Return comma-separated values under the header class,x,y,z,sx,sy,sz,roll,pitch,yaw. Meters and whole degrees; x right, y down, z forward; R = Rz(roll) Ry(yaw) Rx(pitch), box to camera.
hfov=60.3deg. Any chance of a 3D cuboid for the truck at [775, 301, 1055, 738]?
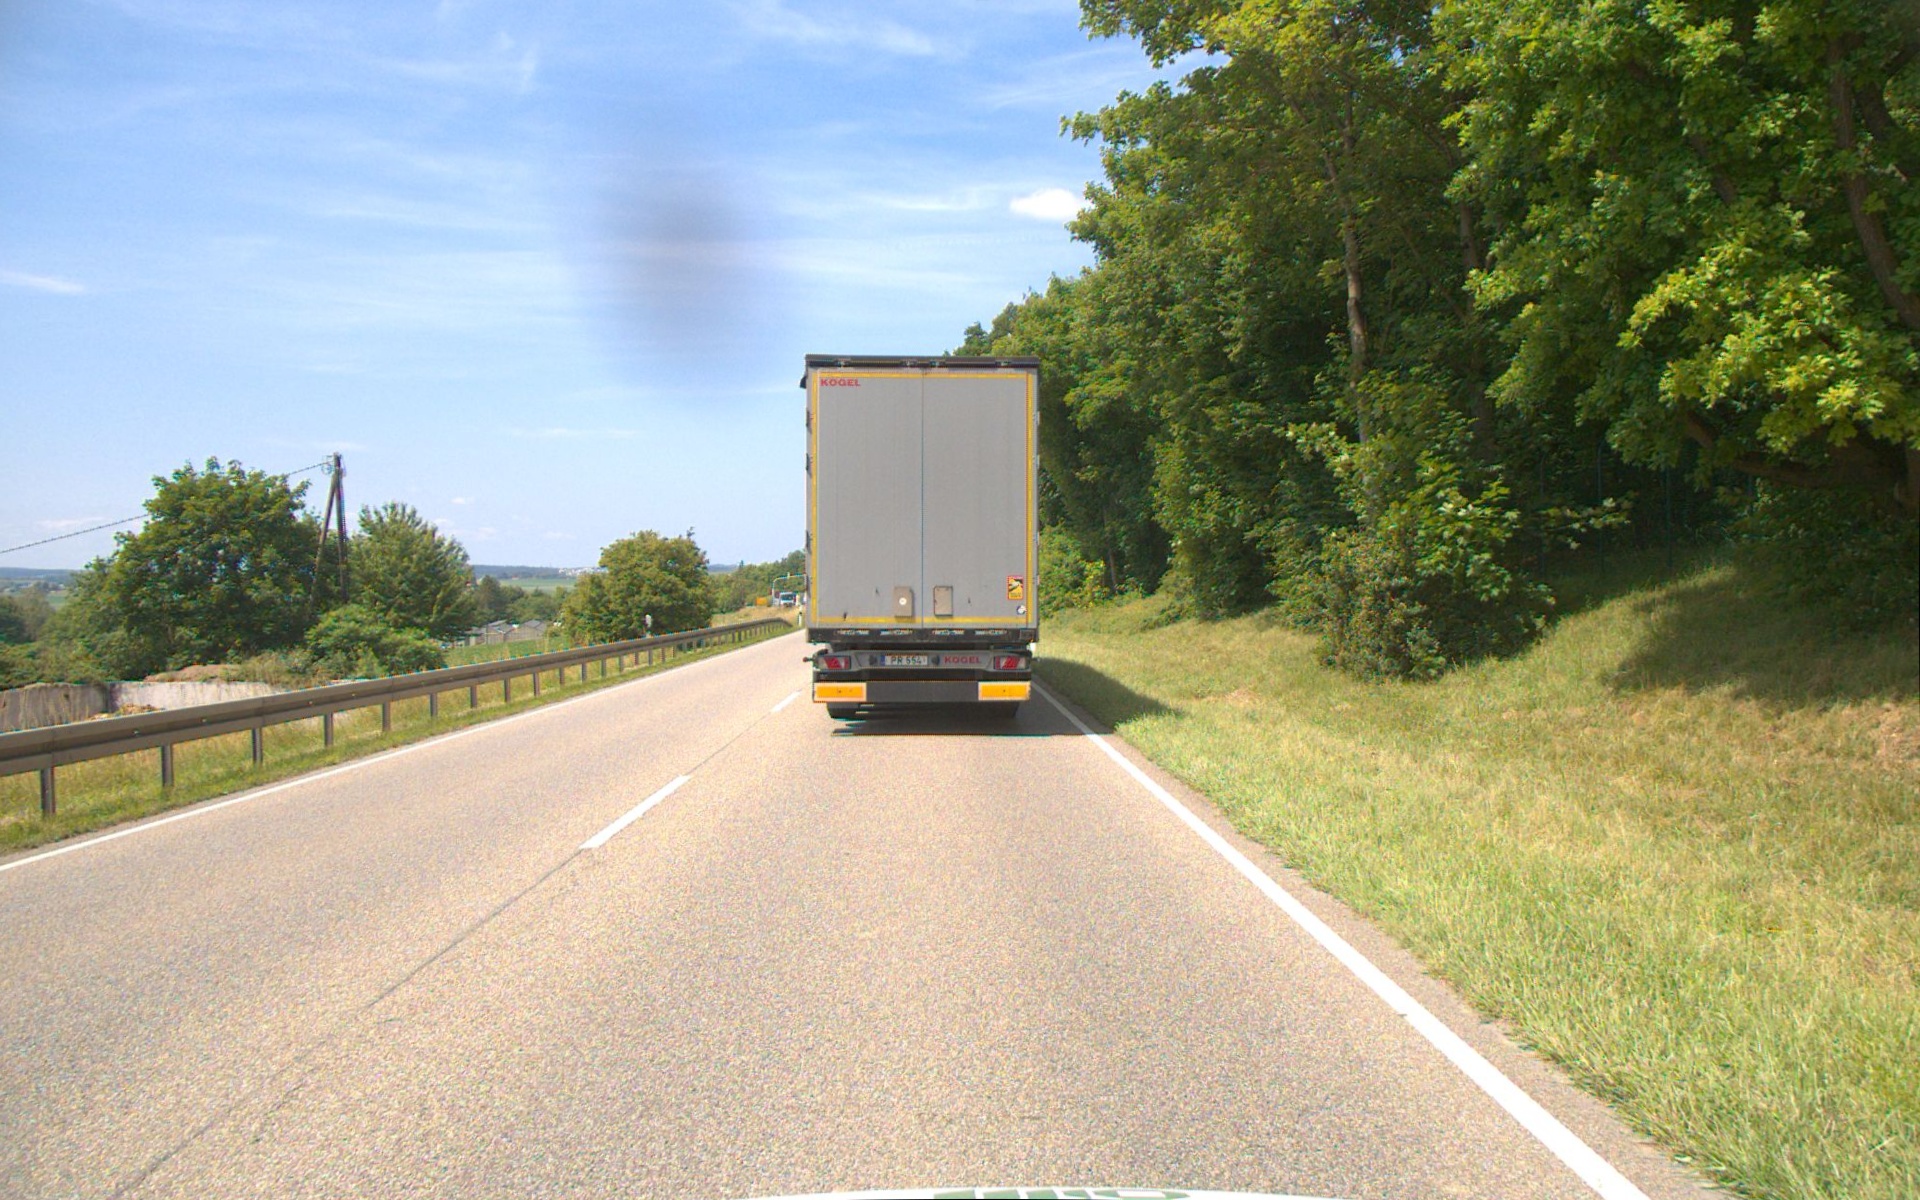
class,x,y,z,sx,sy,sz,roll,pitch,yaw
truck,-0.581,-0.837,21.476,2.848,4.487,8.857,0,0,-2
